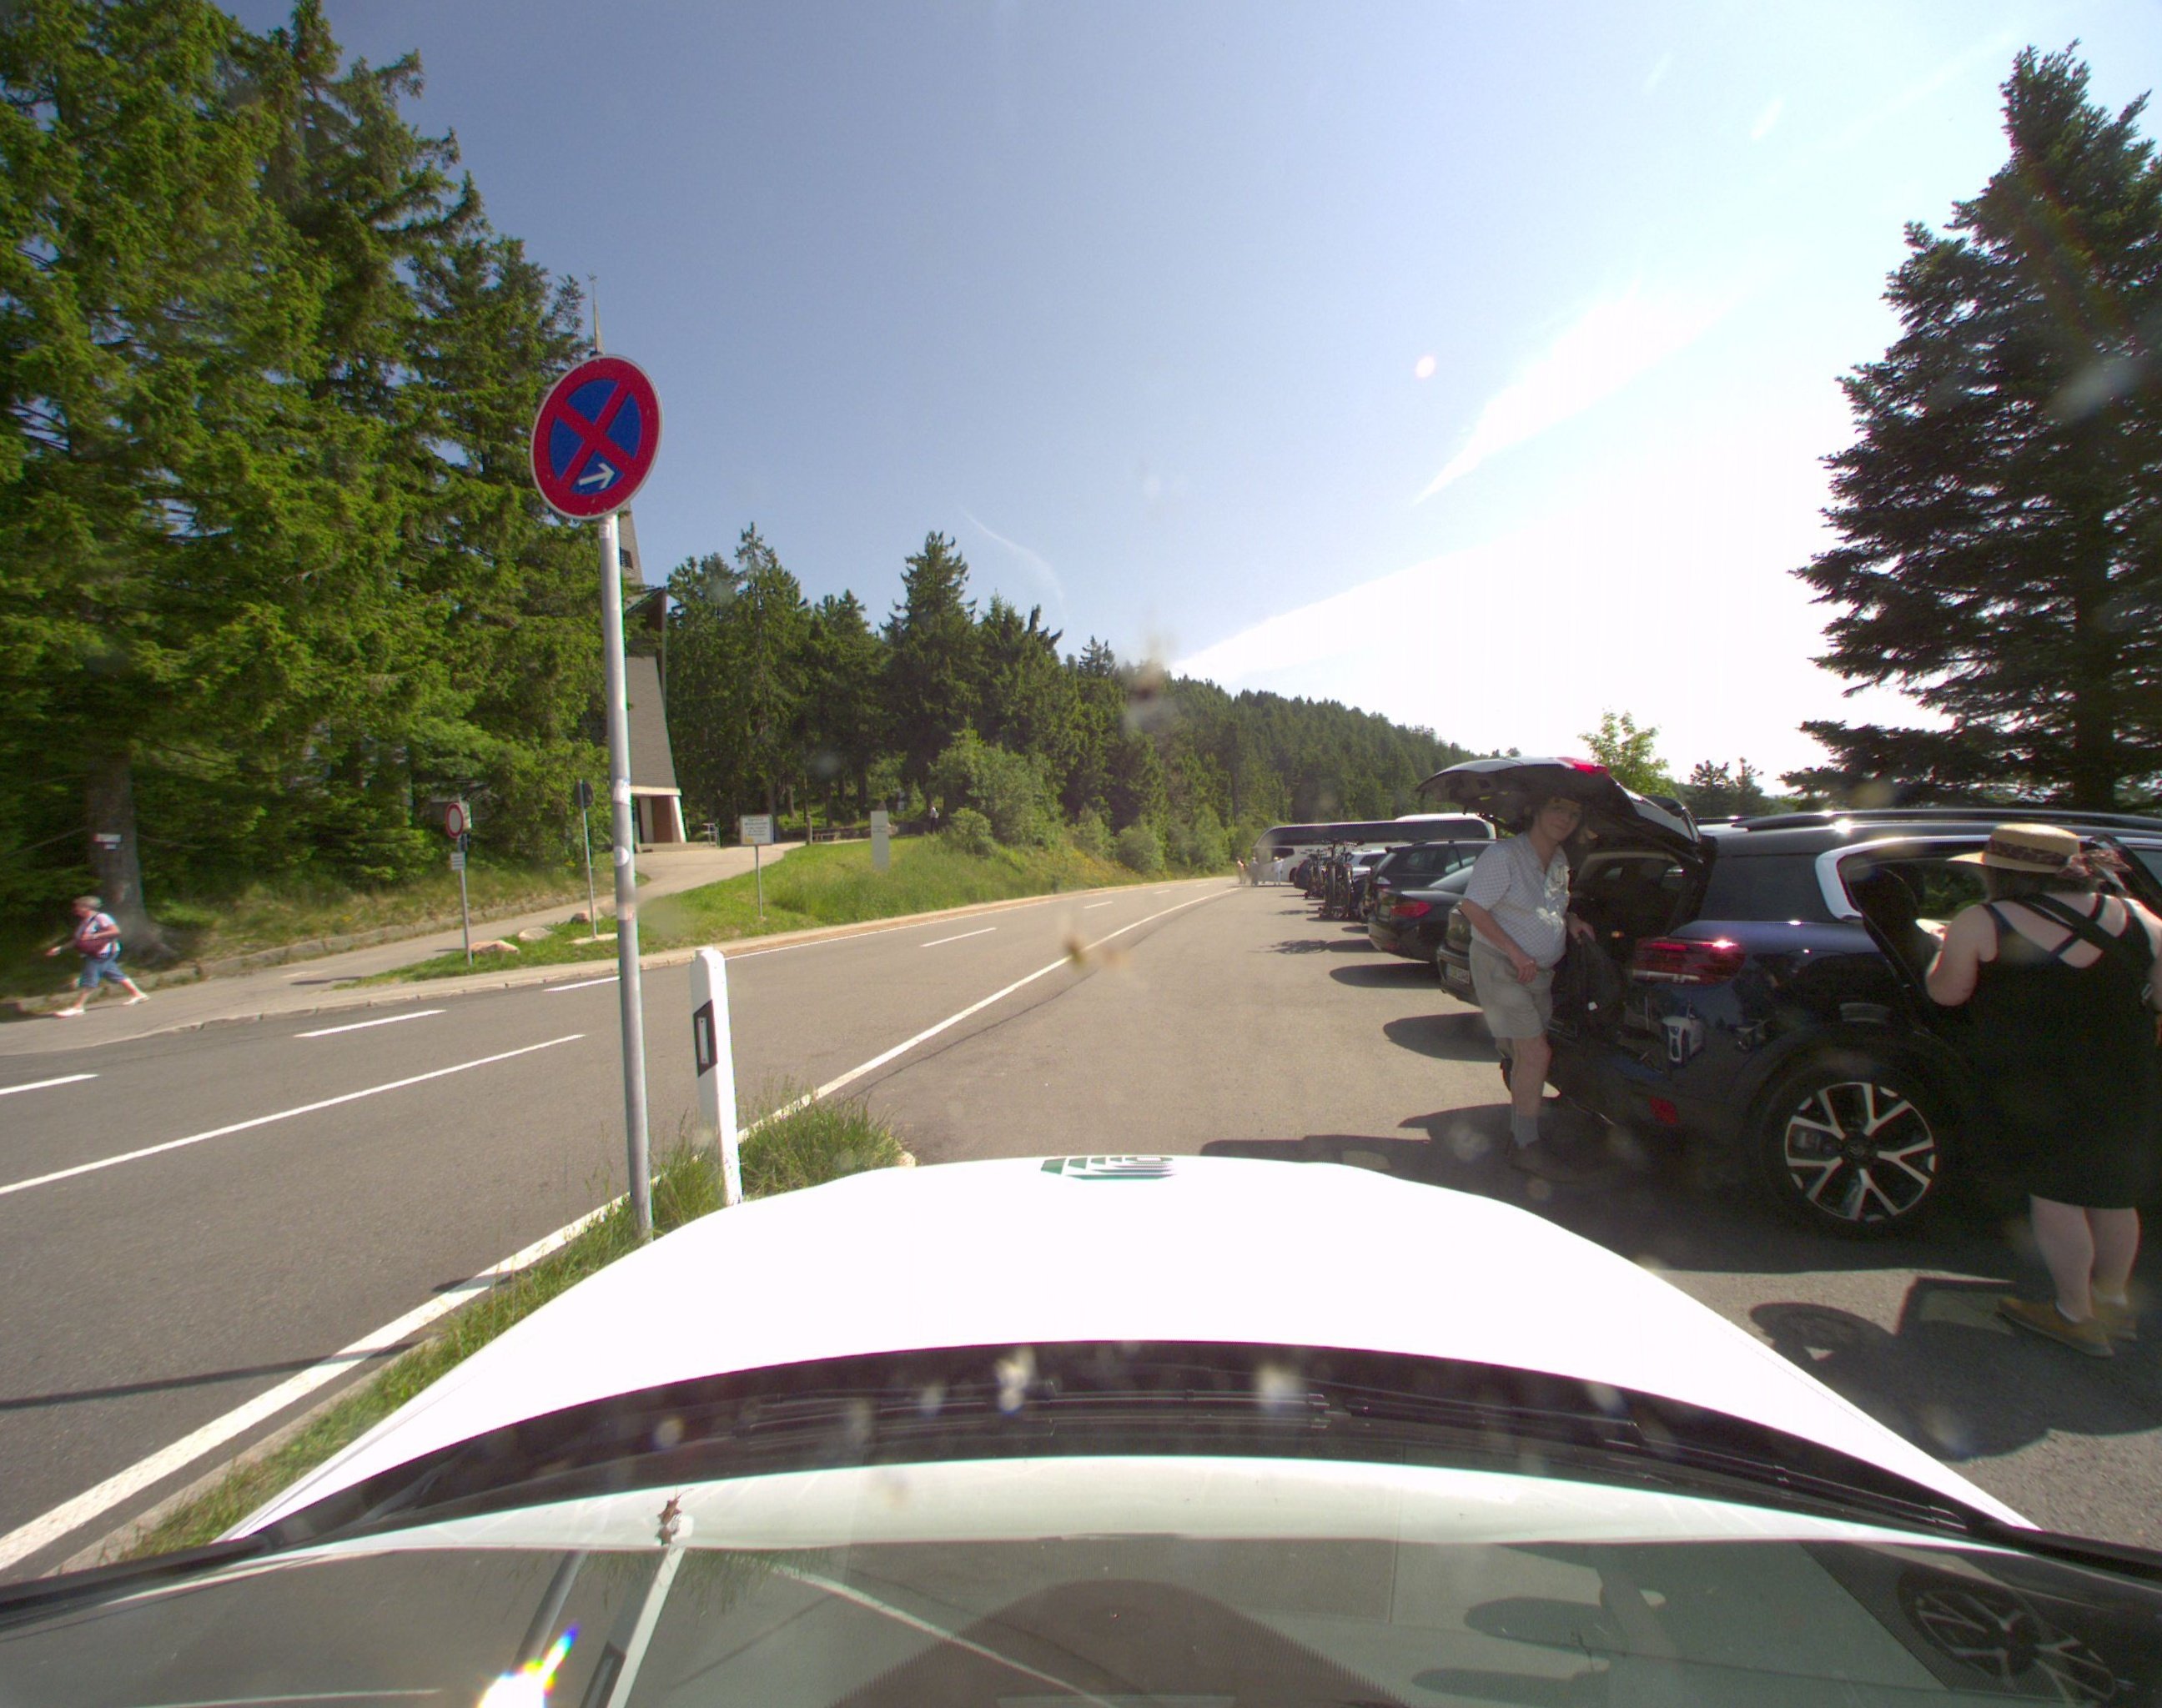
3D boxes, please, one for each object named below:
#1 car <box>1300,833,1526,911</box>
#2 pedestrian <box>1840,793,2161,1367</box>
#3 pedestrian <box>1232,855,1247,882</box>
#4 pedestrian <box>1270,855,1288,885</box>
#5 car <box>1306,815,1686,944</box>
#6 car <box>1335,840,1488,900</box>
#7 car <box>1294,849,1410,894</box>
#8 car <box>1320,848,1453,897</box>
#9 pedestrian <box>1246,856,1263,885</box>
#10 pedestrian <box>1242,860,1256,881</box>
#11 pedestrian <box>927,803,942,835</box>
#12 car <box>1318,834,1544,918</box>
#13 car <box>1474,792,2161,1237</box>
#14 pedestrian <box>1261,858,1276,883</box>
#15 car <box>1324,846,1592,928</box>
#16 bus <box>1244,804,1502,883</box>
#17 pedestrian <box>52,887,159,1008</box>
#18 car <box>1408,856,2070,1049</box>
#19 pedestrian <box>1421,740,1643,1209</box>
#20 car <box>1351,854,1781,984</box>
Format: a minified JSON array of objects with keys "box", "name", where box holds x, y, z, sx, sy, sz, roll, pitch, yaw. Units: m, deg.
[{"box":[8.198,0.459,20.647,4.999,1.651,2.055,-3,-1,13],"name":"car"},{"box":[3.021,0.640,2.622,0.707,1.613,0.540,-1,-2,31],"name":"pedestrian"},{"box":[10.319,0.942,53.062,0.849,1.683,0.872,-3,-1,7],"name":"pedestrian"},{"box":[10.944,0.886,45.020,0.764,1.585,0.776,-3,-1,20],"name":"pedestrian"},{"box":[6.081,0.413,12.662,4.912,1.695,1.953,-3,-1,15],"name":"car"},{"box":[9.757,0.472,24.308,3.959,1.554,1.665,-3,-1,13],"name":"car"},{"box":[10.207,0.663,30.936,3.959,1.449,1.868,-3,-1,13],"name":"car"},{"box":[10.217,0.617,27.480,3.959,1.398,1.626,-3,-1,13],"name":"car"},{"box":[9.698,0.915,45.534,0.764,1.585,0.776,-3,-1,20],"name":"pedestrian"},{"box":[10.748,1.074,52.150,0.730,1.279,0.785,-3,-1,8],"name":"pedestrian"},{"box":[-8.868,-2.123,49.286,0.677,1.878,0.543,-3,-1,7],"name":"pedestrian"},{"box":[7.466,0.484,17.797,4.214,1.554,1.844,-3,-1,13],"name":"car"},{"box":[4.471,0.612,3.885,4.320,1.626,1.874,1,-1,7],"name":"car"},{"box":[12.049,1.069,52.349,0.847,1.585,0.821,-3,-1,14],"name":"pedestrian"},{"box":[6.827,0.602,15.216,4.214,1.269,1.844,-3,-1,13],"name":"car"},{"box":[15.959,-0.464,45.365,12.977,3.533,3.060,-3,-1,23],"name":"bus"},{"box":[-14.339,1.353,11.988,0.715,1.681,0.684,-3,-1,7],"name":"pedestrian"},{"box":[5.082,0.717,6.781,4.063,1.376,1.704,0,-1,3],"name":"car"},{"box":[2.088,0.466,3.757,0.728,1.870,0.763,0,2,43],"name":"pedestrian"},{"box":[5.483,0.704,9.682,4.060,1.376,1.705,0,-1,6],"name":"car"}]
